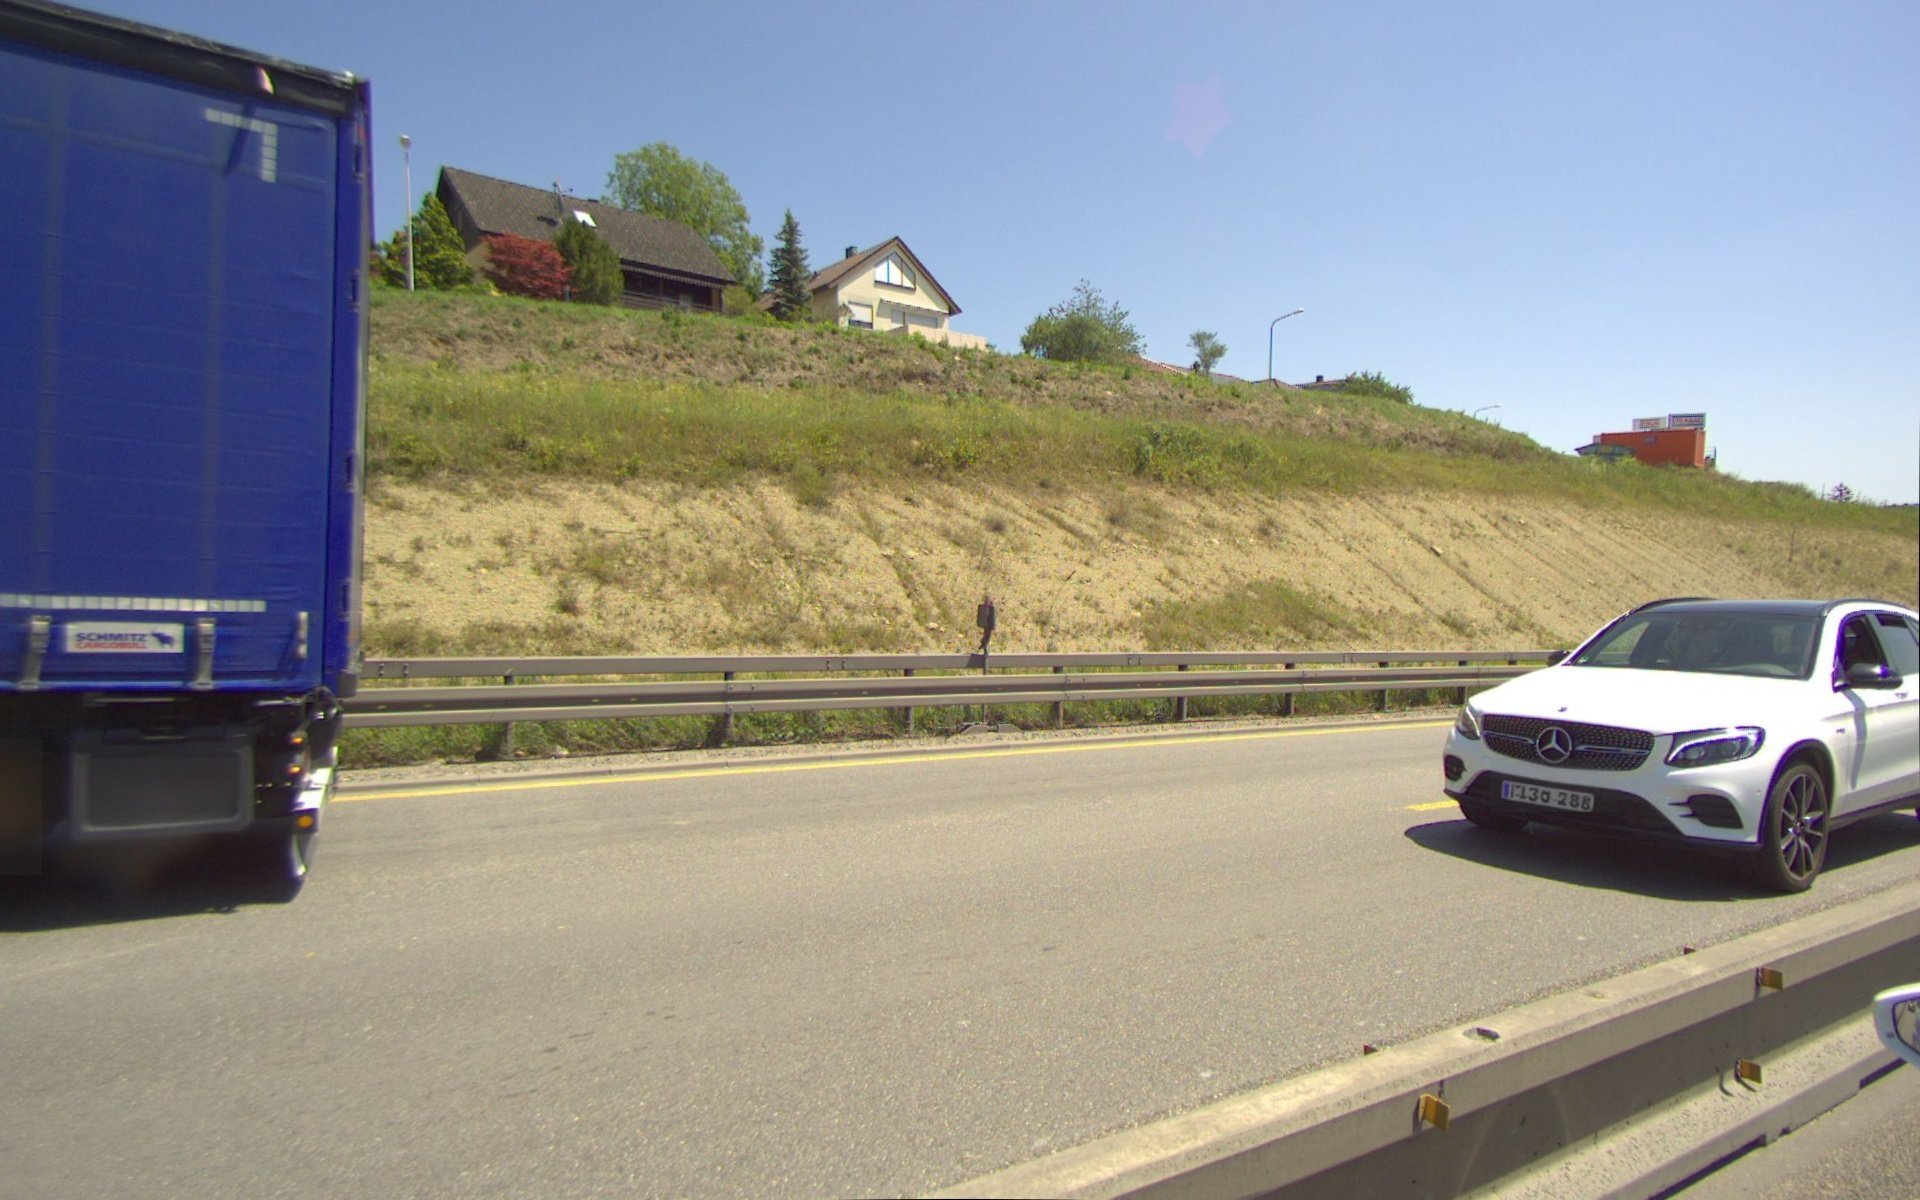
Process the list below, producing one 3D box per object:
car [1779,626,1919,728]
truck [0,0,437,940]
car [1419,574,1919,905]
[{"bbox_3d":[15.035,1.164,16.128,3.921,1.397,1.693,1,0,-31],"label":"car"},{"bbox_3d":[-9.278,-0.847,2.684,13.816,4.215,3.227,1,0,-31],"label":"truck"},{"bbox_3d":[5.320,0.738,6.928,4.312,1.659,1.803,1,0,-31],"label":"car"}]
